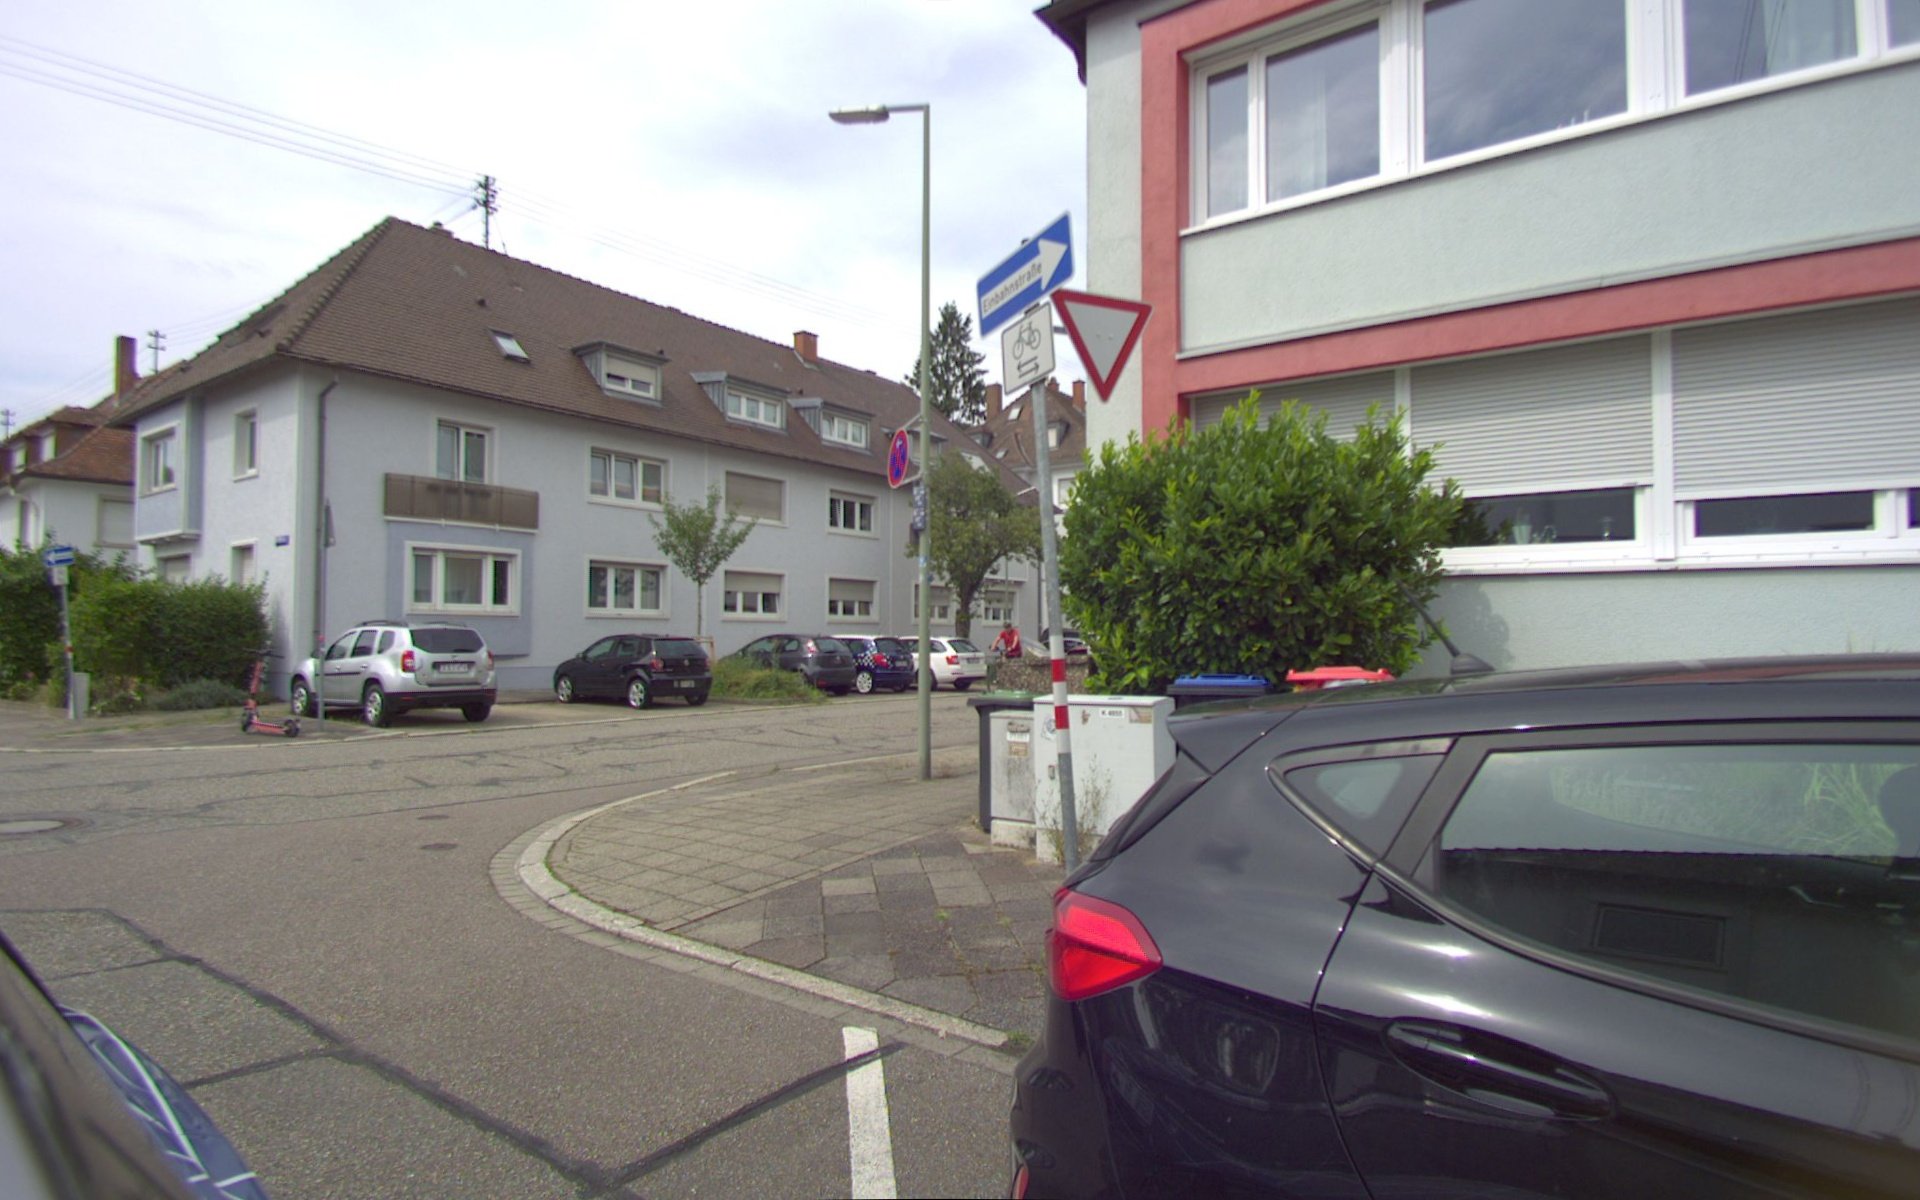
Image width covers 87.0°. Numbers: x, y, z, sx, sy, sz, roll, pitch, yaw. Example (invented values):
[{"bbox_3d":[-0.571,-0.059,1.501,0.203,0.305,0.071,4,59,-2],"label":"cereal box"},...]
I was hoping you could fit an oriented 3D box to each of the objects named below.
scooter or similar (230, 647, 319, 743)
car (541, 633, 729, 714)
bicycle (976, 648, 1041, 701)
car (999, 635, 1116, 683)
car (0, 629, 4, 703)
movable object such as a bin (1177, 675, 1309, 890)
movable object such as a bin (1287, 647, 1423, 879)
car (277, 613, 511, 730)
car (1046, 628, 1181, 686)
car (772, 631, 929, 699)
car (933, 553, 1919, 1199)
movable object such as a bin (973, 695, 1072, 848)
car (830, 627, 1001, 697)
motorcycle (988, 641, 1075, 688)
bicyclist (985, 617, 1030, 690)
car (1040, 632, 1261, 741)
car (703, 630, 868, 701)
[{"bbox_3d":[-9.640,1.312,14.222,1.235,1.253,0.419,1,-2,24],"label":"scooter or similar"},{"bbox_3d":[-6.811,1.459,21.062,3.993,1.432,1.691,1,-2,37],"label":"car"},{"bbox_3d":[1.234,1.840,25.304,0.692,1.237,1.913,-3,-4,35],"label":"bicycle"},{"bbox_3d":[3.374,2.004,35.086,3.626,1.465,1.753,1,-2,33],"label":"car"},{"bbox_3d":[-25.492,1.659,25.206,3.805,1.819,1.685,-2,-1,35],"label":"car"},{"bbox_3d":[1.689,1.035,6.008,0.592,1.122,0.671,1,-2,30],"label":"movable object such as a bin"},{"bbox_3d":[2.173,0.838,5.537,0.592,1.140,0.671,1,-2,30],"label":"movable object such as a bin"},{"bbox_3d":[-9.470,1.125,16.867,3.929,1.645,1.845,1,-3,36],"label":"car"},{"bbox_3d":[5.498,2.005,36.570,4.535,1.872,1.769,1,-2,39],"label":"car"},{"bbox_3d":[-2.905,1.640,26.428,3.993,1.519,1.691,1,-2,37],"label":"car"},{"bbox_3d":[1.916,0.704,1.150,3.765,1.433,1.641,0,-2,40],"label":"car"},{"bbox_3d":[0.423,1.122,6.759,0.485,0.914,0.471,1,-2,30],"label":"movable object such as a bin"},{"bbox_3d":[-1.287,1.663,28.064,4.623,1.676,1.868,1,-2,38],"label":"car"},{"bbox_3d":[2.319,2.088,33.174,2.701,1.475,1.020,-1,-3,33],"label":"motorcycle"},{"bbox_3d":[1.198,1.338,25.289,0.693,1.783,0.974,-3,-4,36],"label":"bicyclist"},{"bbox_3d":[3.294,1.325,16.762,1.879,1.497,4.457,1,-2,36],"label":"car"},{"bbox_3d":[-4.325,1.546,24.812,3.993,1.519,1.691,1,-2,37],"label":"car"}]
